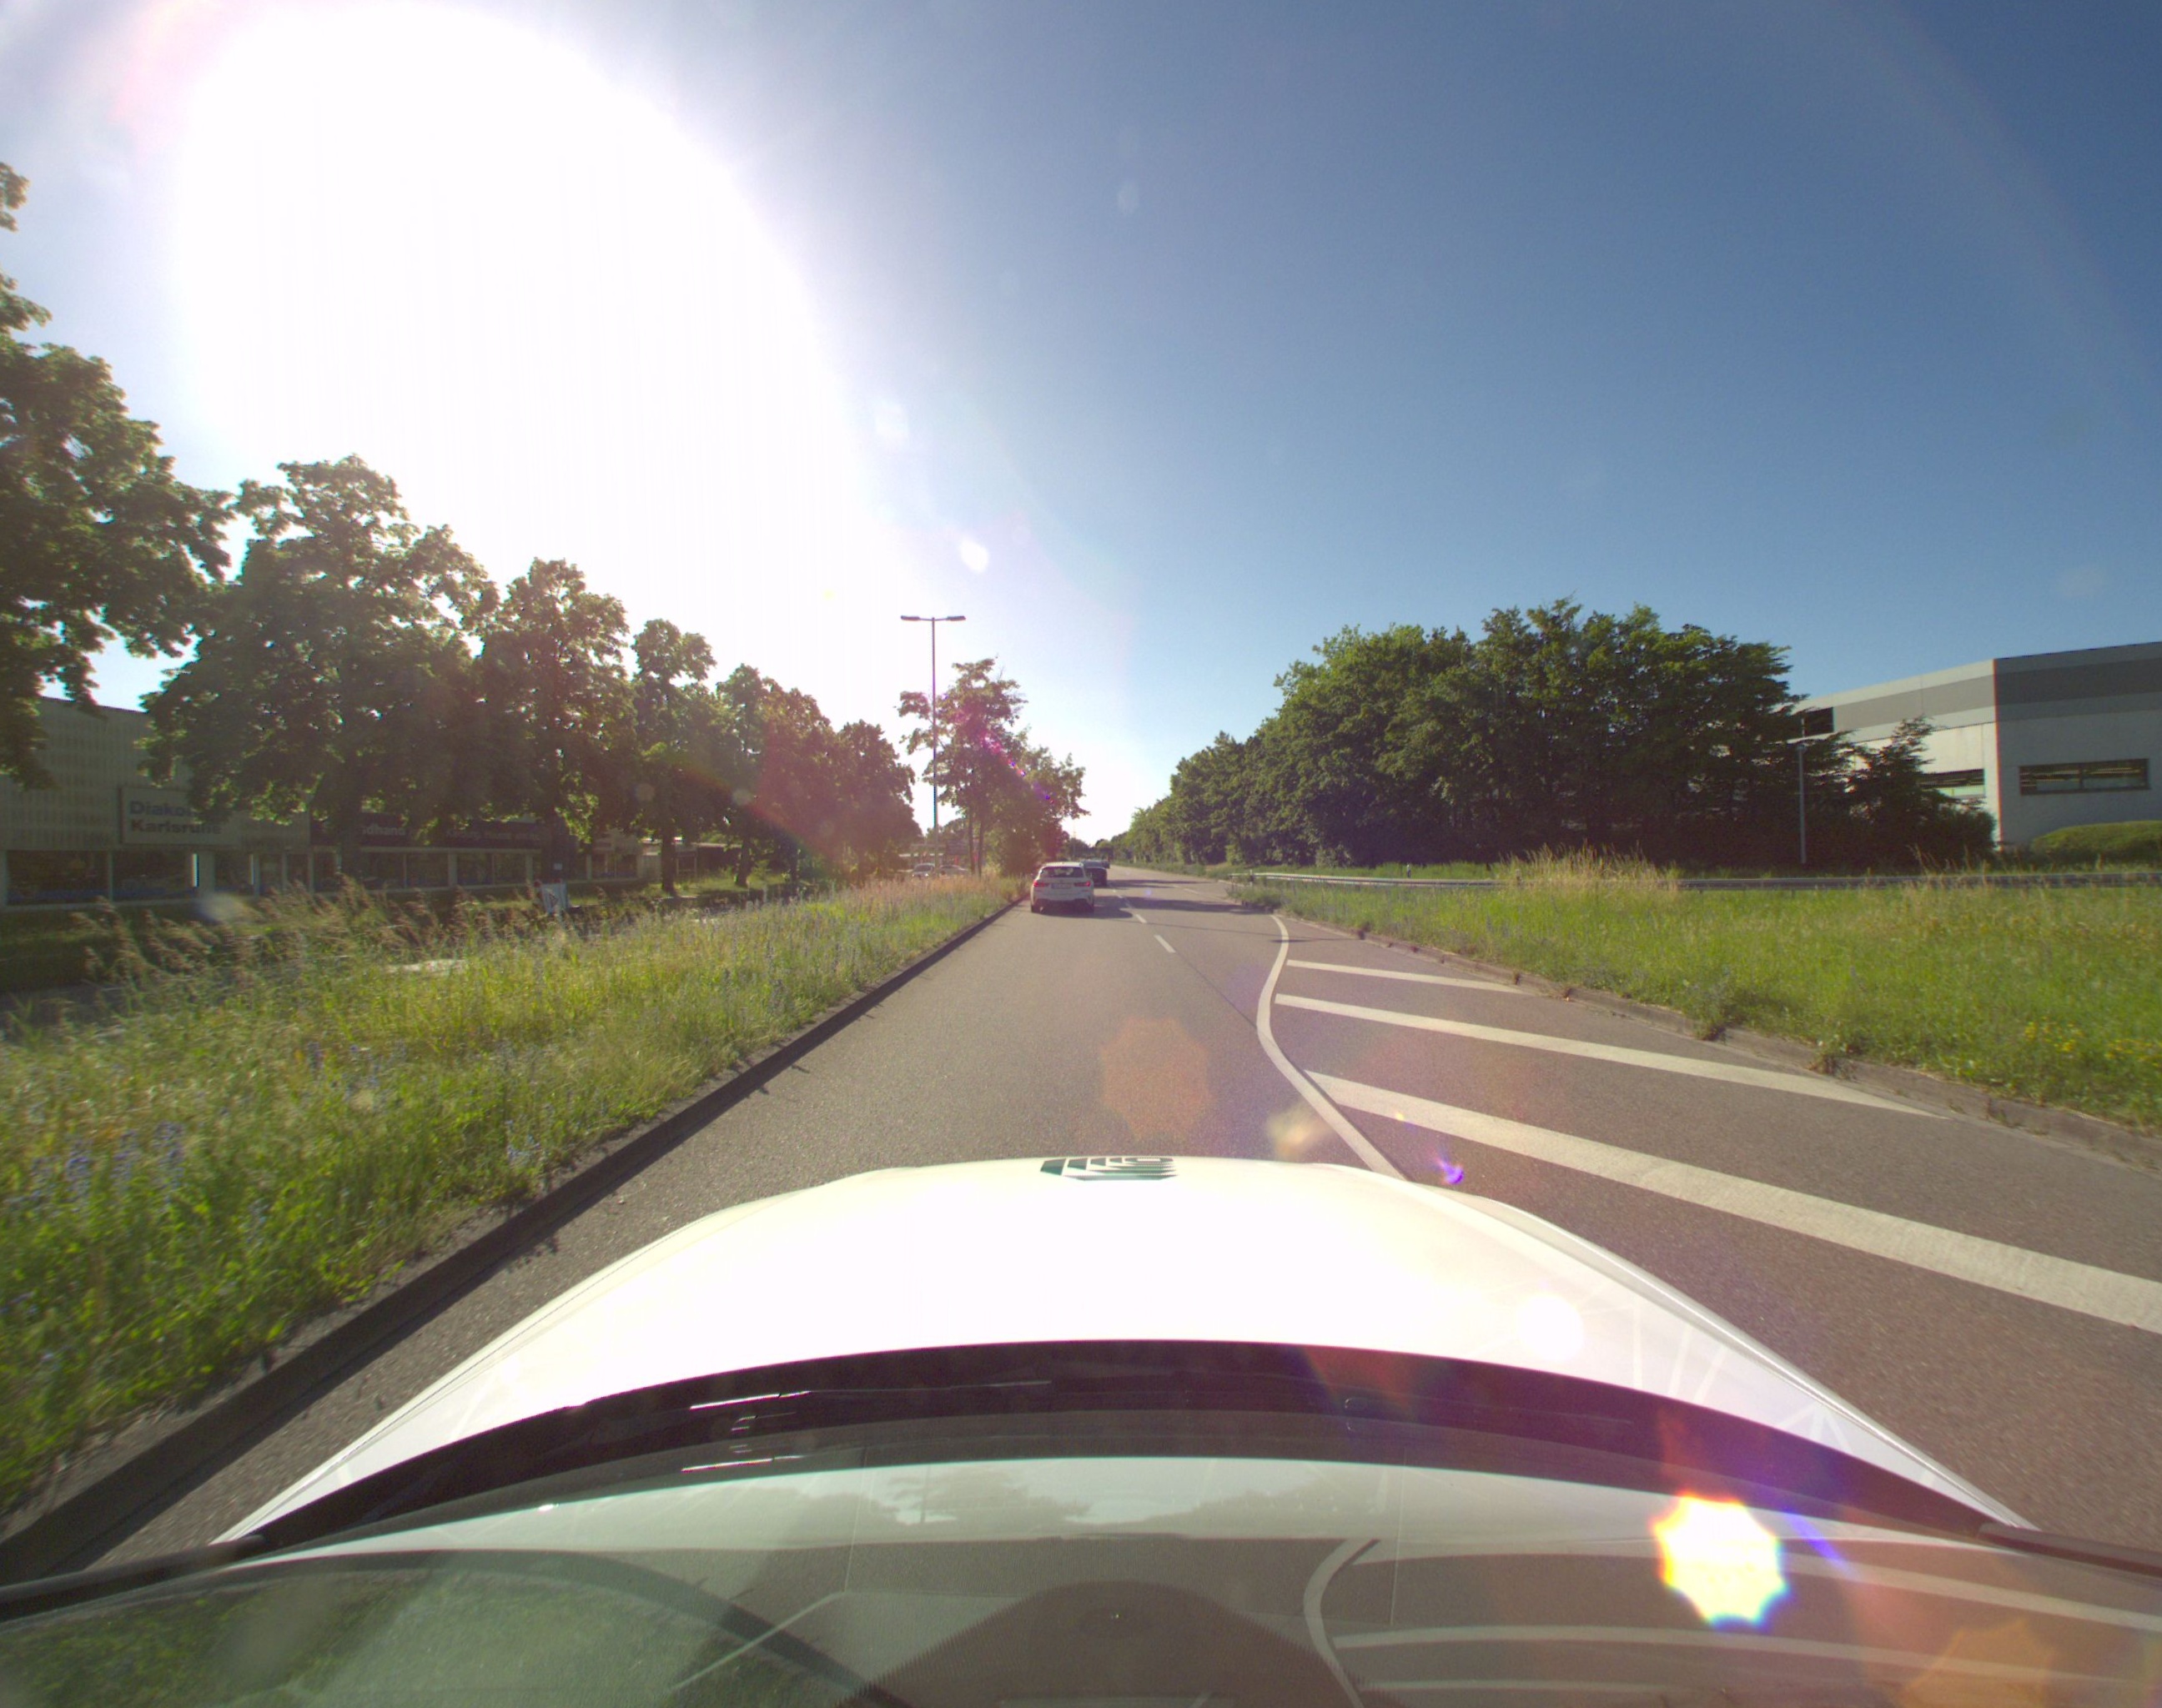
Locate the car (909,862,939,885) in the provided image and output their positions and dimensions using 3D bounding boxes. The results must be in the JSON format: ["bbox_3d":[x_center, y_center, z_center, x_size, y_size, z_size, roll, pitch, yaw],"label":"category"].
[{"bbox_3d":[-12.702,1.533,66.039,1.701,1.746,4.163,-1,0,-1],"label":"car"}]

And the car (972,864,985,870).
[{"bbox_3d":[-31.681,3.915,250.990,1.938,1.783,4.036,-1,-1,-44],"label":"car"}]

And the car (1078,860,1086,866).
[{"bbox_3d":[0.223,2.238,211.289,1.856,1.565,4.546,-1,0,0],"label":"car"}]

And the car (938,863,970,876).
[{"bbox_3d":[-17.953,2.202,115.199,4.074,1.662,1.903,-2,0,22],"label":"car"}]

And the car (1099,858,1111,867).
[{"bbox_3d":[4.011,1.473,137.337,1.856,1.499,4.335,-1,-1,0],"label":"car"}]

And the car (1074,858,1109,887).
[{"bbox_3d":[0.551,1.015,46.613,1.856,1.455,4.546,-2,0,0],"label":"car"}]

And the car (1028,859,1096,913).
[{"bbox_3d":[-0.505,0.902,24.691,1.855,1.455,4.547,0,0,0],"label":"car"}]
